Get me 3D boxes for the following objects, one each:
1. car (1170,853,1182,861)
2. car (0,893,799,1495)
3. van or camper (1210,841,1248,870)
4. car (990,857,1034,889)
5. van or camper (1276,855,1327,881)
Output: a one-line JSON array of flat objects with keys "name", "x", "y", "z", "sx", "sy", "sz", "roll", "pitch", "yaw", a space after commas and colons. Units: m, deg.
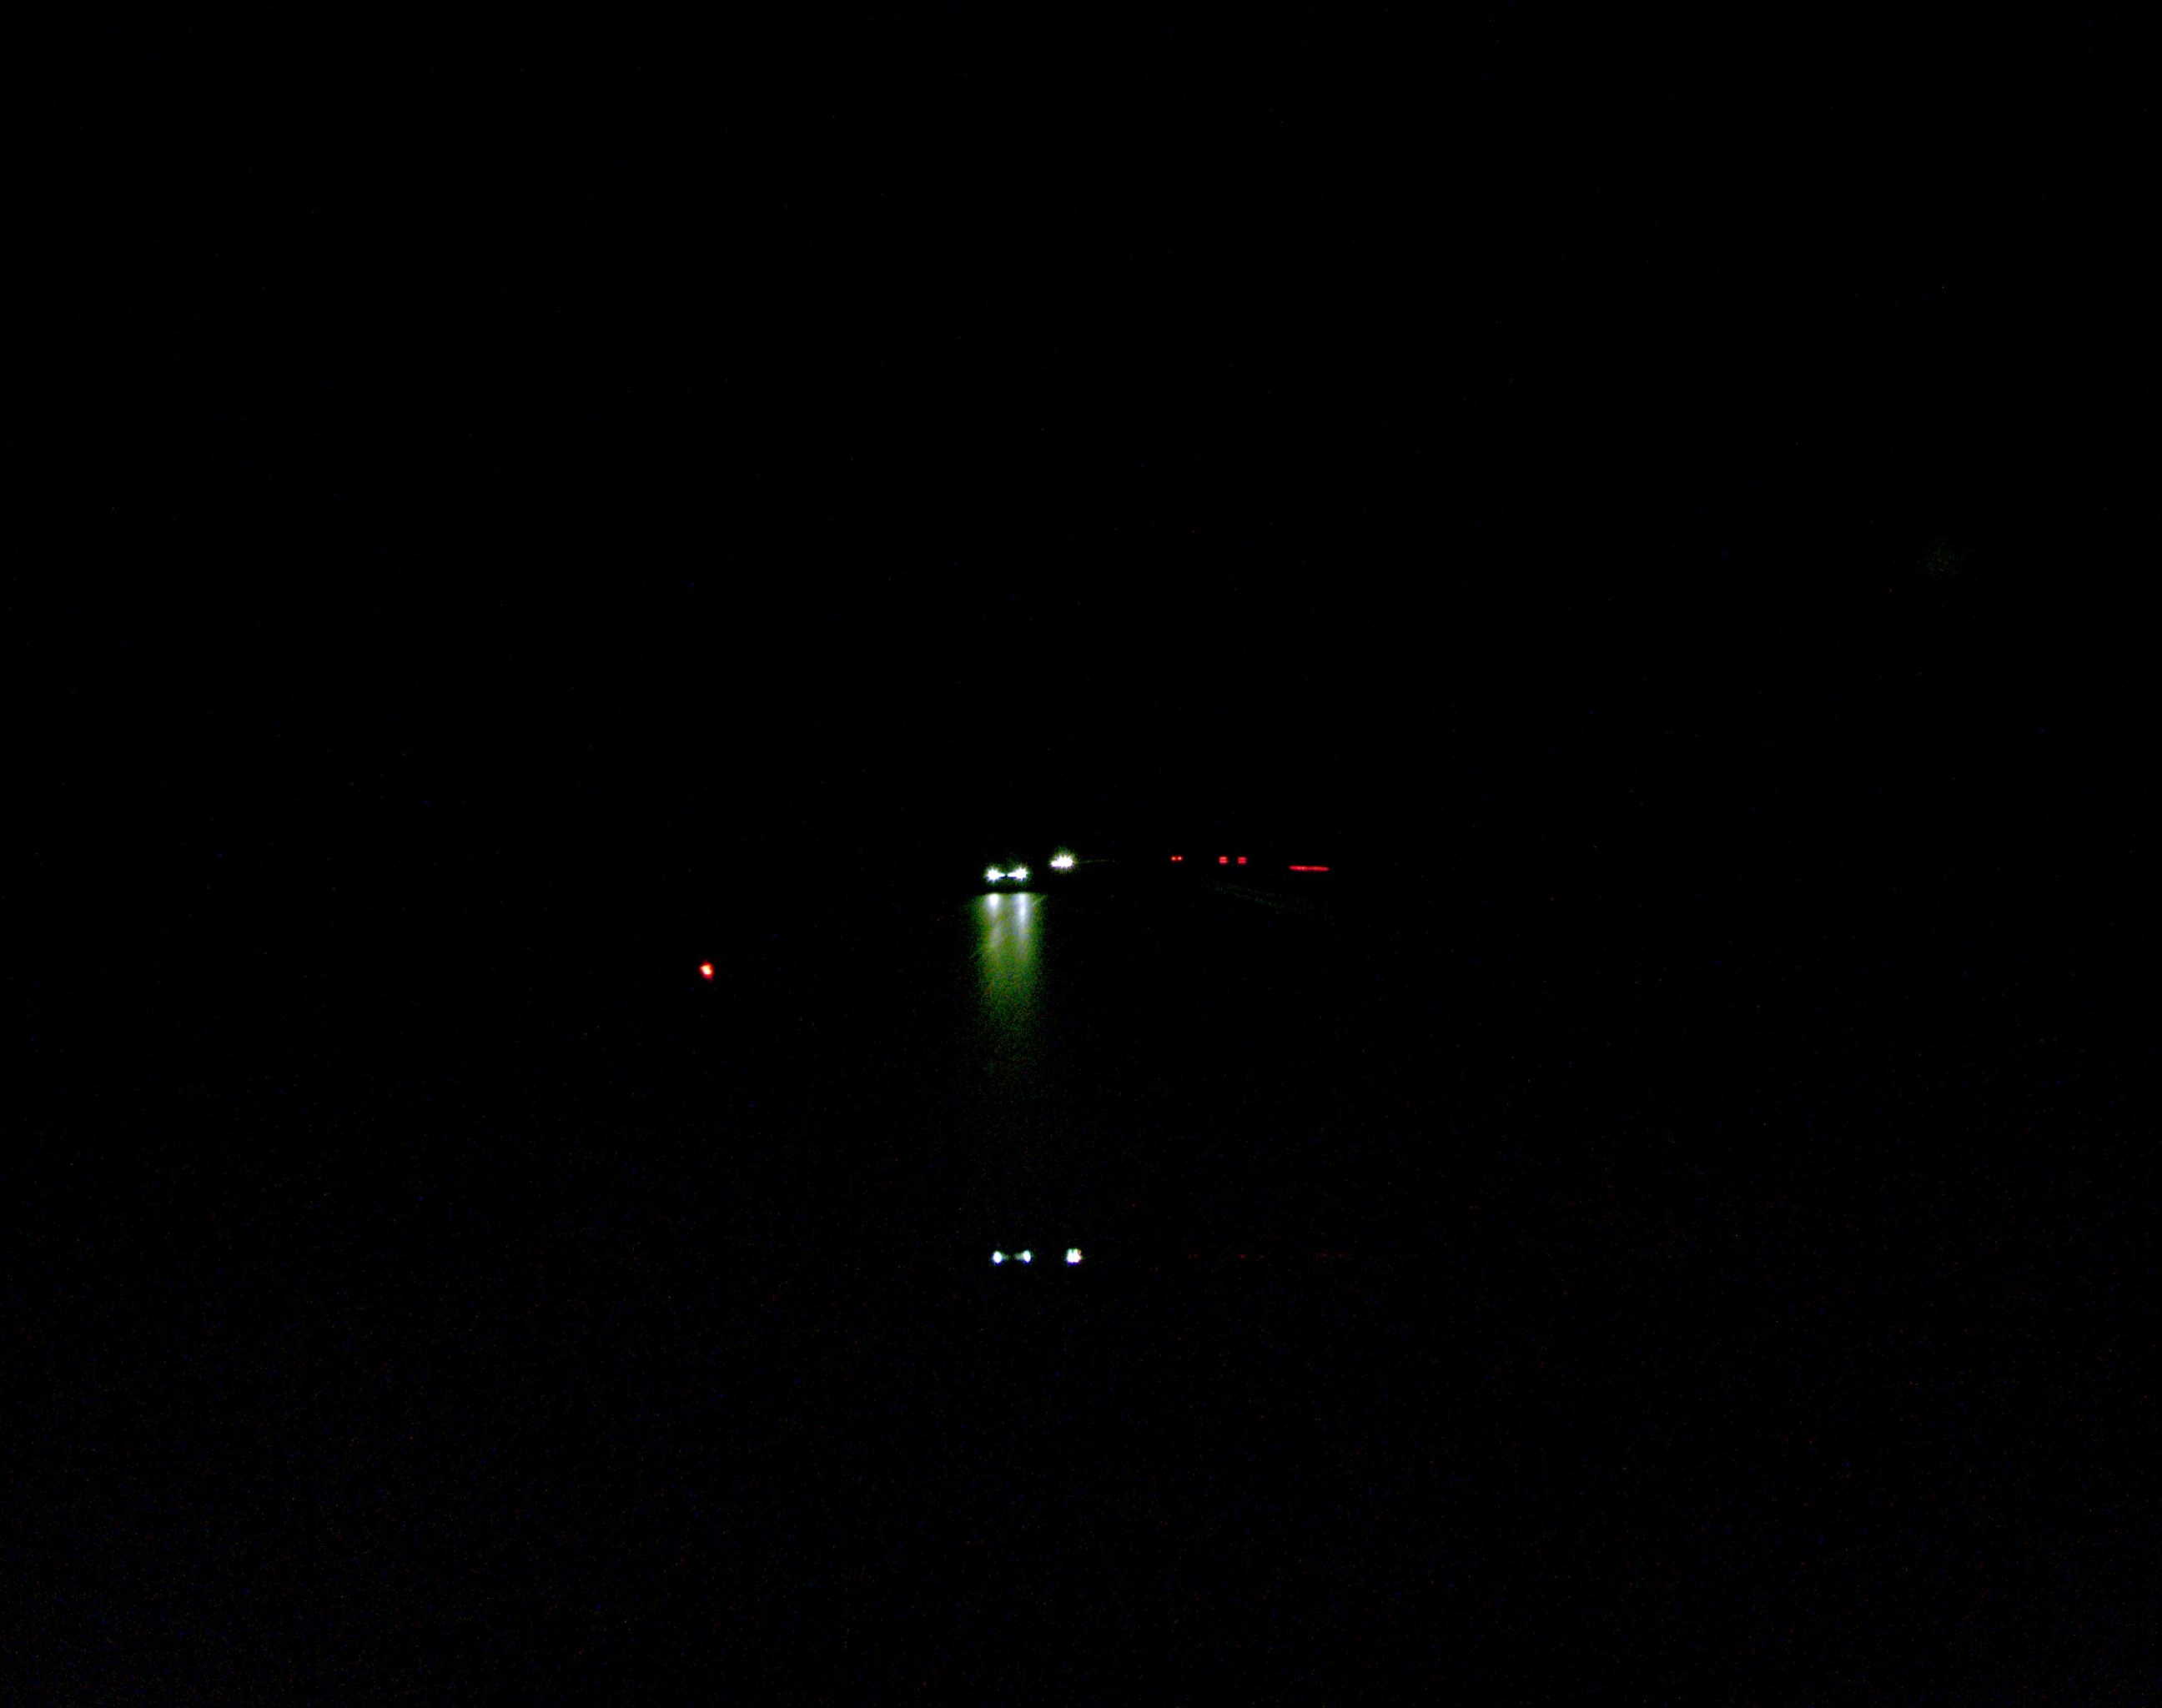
[{"name": "car", "x": 19.727, "y": 0.539, "z": 157.671, "sx": 1.795, "sy": 1.532, "sz": 4.552, "roll": 3, "pitch": 0, "yaw": 1}, {"name": "car", "x": -3.222, "y": 1.036, "z": 4.168, "sx": 1.690, "sy": 1.405, "sz": 4.225, "roll": -1, "pitch": 0, "yaw": 1}, {"name": "van or camper", "x": 14.632, "y": 0.116, "z": 75.699, "sx": 2.335, "sy": 2.616, "sz": 7.777, "roll": 2, "pitch": 1, "yaw": 1}, {"name": "car", "x": -3.457, "y": 0.929, "z": 38.751, "sx": 1.795, "sy": 1.532, "sz": 4.225, "roll": -1, "pitch": 0, "yaw": 1}, {"name": "van or camper", "x": 13.895, "y": 0.833, "z": 48.199, "sx": 1.784, "sy": 1.433, "sz": 5.102, "roll": 2, "pitch": 0, "yaw": 1}]
